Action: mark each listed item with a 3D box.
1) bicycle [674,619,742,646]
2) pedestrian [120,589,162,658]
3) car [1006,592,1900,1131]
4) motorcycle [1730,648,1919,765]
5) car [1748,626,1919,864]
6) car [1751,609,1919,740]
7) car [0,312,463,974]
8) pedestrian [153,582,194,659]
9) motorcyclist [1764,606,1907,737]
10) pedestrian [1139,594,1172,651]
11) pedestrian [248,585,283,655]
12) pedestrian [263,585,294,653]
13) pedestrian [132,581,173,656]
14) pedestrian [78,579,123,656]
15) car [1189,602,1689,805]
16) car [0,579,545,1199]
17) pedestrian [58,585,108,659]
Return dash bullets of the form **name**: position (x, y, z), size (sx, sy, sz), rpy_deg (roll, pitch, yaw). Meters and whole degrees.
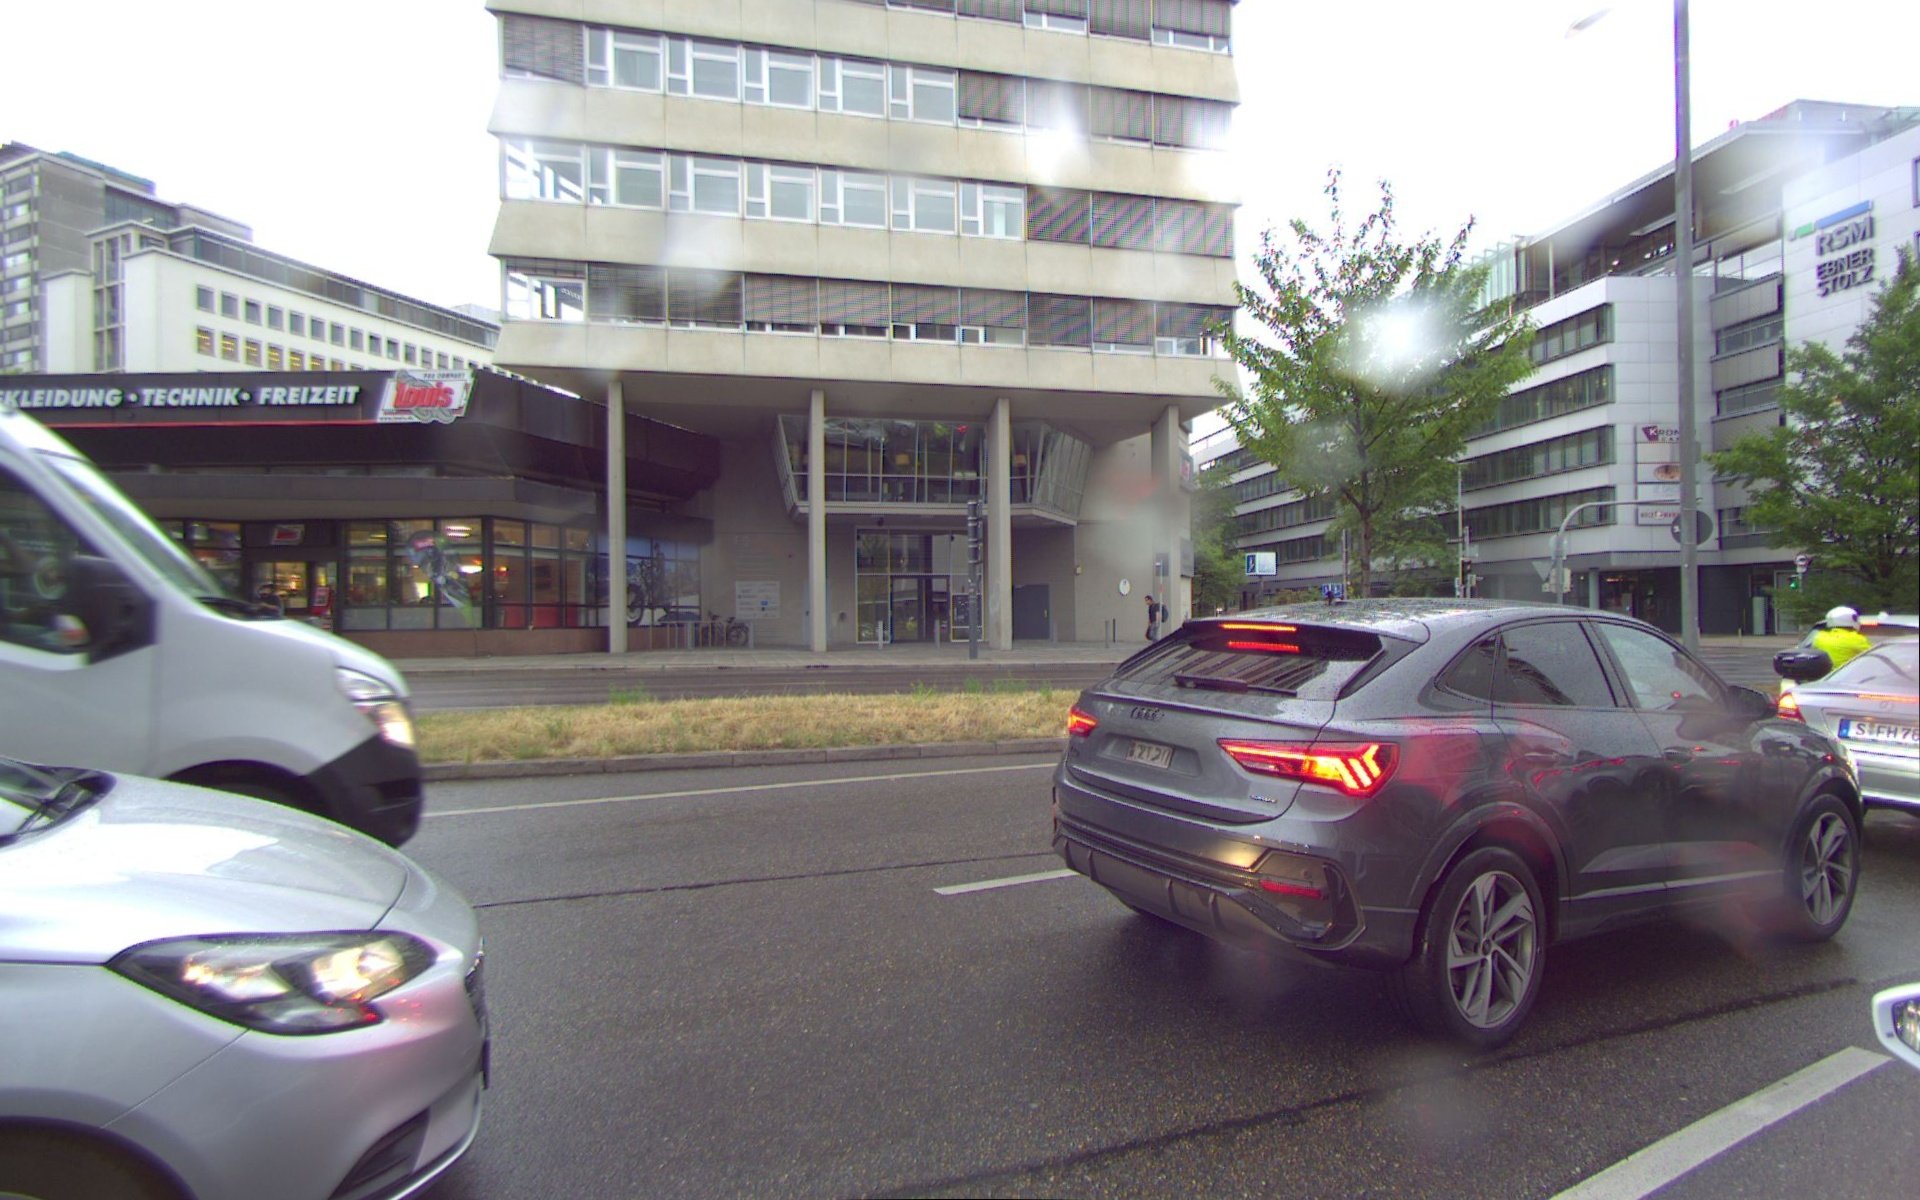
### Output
- **bicycle**: position (-8.512, 1.115, 33.929), size (2.165, 0.871, 0.456), rpy_deg (2, 0, -31)
- **pedestrian**: position (-19.078, 0.541, 23.396), size (0.548, 1.591, 0.541), rpy_deg (1, 0, -9)
- **car**: position (2.433, 0.775, 4.649), size (4.220, 1.542, 1.640), rpy_deg (1, 0, -30)
- **motorcycle**: position (9.753, 1.167, 11.301), size (1.998, 1.200, 0.799), rpy_deg (2, 0, -21)
- **car**: position (7.681, 0.958, 7.099), size (4.051, 1.426, 1.567), rpy_deg (2, 0, -23)
- **car**: position (12.640, 0.936, 13.216), size (3.940, 1.506, 1.704), rpy_deg (2, 0, -21)
- **car**: position (-5.069, 0.139, 3.900), size (5.424, 2.473, 1.934), rpy_deg (1, 0, -34)
- **pedestrian**: position (-18.363, 0.476, 23.456), size (0.548, 1.767, 0.541), rpy_deg (1, 0, -9)
- **motorcyclist**: position (9.866, 0.782, 11.332), size (1.102, 1.398, 0.768), rpy_deg (2, 0, -21)
- **pedestrian**: position (5.900, 0.670, 30.367), size (0.751, 1.706, 0.677), rpy_deg (1, 0, -16)
- **pedestrian**: position (-17.464, 0.498, 25.260), size (0.488, 1.741, 0.525), rpy_deg (1, 0, 3)
- **pedestrian**: position (-17.745, 0.494, 26.168), size (0.436, 1.741, 0.509), rpy_deg (1, 0, 3)
- **pedestrian**: position (-19.395, 0.442, 24.136), size (0.548, 1.767, 0.541), rpy_deg (1, 0, -9)
- **pedestrian**: position (-20.148, 0.407, 23.556), size (0.548, 1.767, 0.614), rpy_deg (1, 0, -9)
- **car**: position (4.665, 0.835, 9.652), size (4.715, 1.554, 1.858), rpy_deg (1, 0, -27)
- **car**: position (-2.875, 0.671, 1.682), size (3.831, 1.455, 1.639), rpy_deg (1, 0, -32)
- **pedestrian**: position (-19.753, 0.498, 22.631), size (0.601, 1.633, 0.614), rpy_deg (1, 0, -9)
